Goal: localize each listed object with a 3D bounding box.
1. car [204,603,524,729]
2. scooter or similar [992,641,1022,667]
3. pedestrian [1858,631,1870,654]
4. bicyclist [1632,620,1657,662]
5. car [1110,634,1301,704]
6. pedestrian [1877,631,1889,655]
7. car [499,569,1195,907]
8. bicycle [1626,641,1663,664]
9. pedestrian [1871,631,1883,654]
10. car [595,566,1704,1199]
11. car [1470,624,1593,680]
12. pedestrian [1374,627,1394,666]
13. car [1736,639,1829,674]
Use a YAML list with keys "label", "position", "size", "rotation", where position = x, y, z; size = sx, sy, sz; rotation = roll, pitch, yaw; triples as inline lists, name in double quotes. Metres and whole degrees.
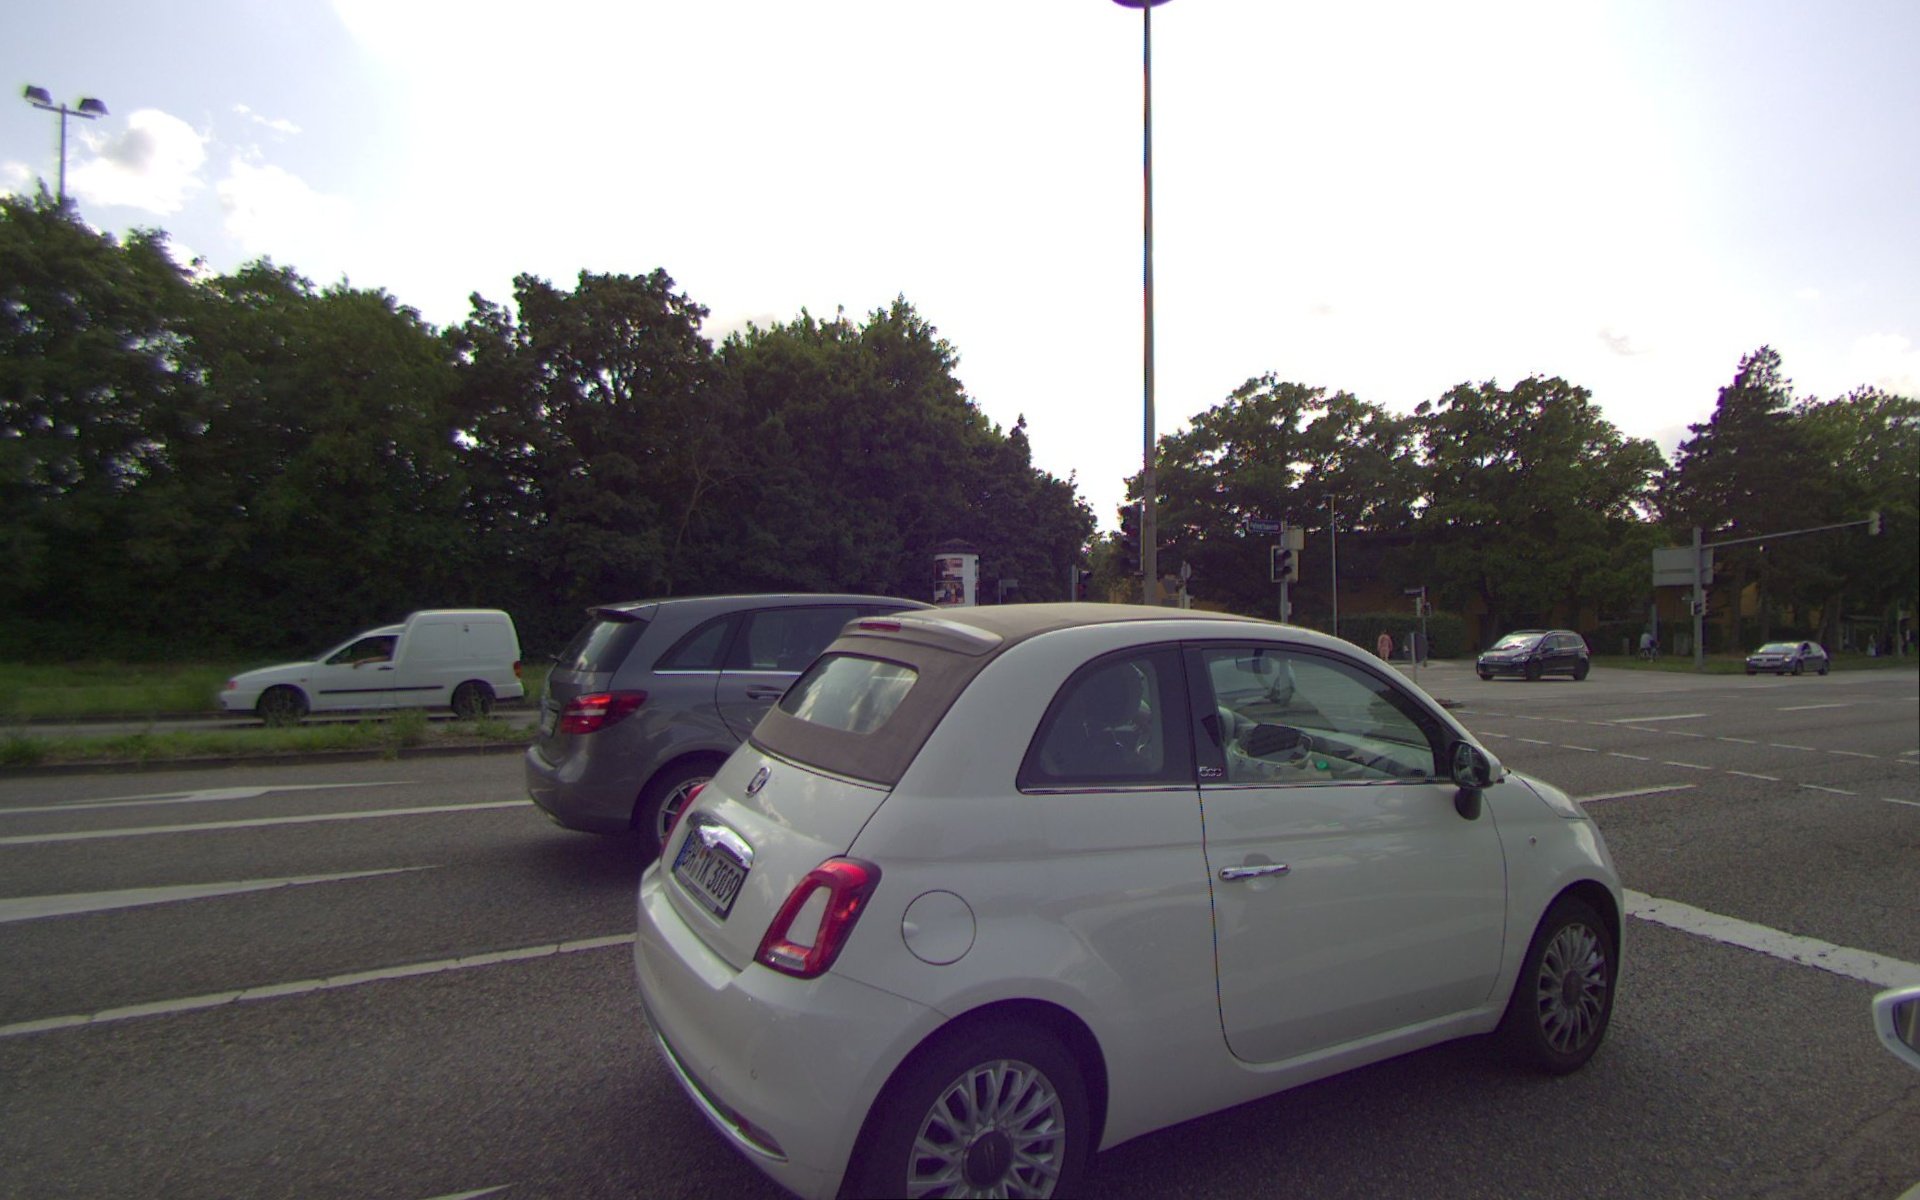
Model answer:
- label: "car"
  position: [-9.448, 1.030, 16.246]
  size: [4.205, 1.817, 1.663]
  rotation: [2, -2, -30]
- label: "scooter or similar"
  position: [1.732, 1.989, 36.948]
  size: [1.022, 0.954, 0.295]
  rotation: [2, 0, -24]
- label: "pedestrian"
  position: [60.189, 2.816, 66.890]
  size: [0.418, 1.515, 0.564]
  rotation: [2, 0, -45]
- label: "bicyclist"
  position: [33.863, 2.038, 49.706]
  size: [0.822, 2.040, 0.747]
  rotation: [1, -2, -32]
- label: "car"
  position: [5.062, 1.412, 20.683]
  size: [3.650, 1.325, 1.745]
  rotation: [2, -4, -30]
- label: "pedestrian"
  position: [60.612, 2.824, 65.966]
  size: [0.418, 1.515, 0.564]
  rotation: [2, 0, -45]
- label: "car"
  position: [-0.627, 0.746, 6.717]
  size: [4.309, 1.640, 1.690]
  rotation: [2, -1, -30]
- label: "bicycle"
  position: [33.896, 2.579, 49.710]
  size: [2.091, 1.133, 0.751]
  rotation: [1, -2, -32]
- label: "pedestrian"
  position: [60.883, 2.839, 66.701]
  size: [0.418, 1.515, 0.564]
  rotation: [2, 0, -45]
- label: "car"
  position: [0.755, 0.747, 3.392]
  size: [3.499, 1.517, 1.562]
  rotation: [2, 0, -30]
- label: "car"
  position: [19.005, 1.720, 33.351]
  size: [4.260, 1.764, 1.663]
  rotation: [2, -2, -30]
- label: "pedestrian"
  position: [19.105, 2.093, 45.310]
  size: [0.678, 1.765, 0.705]
  rotation: [0, -2, 10]
- label: "car"
  position: [34.094, 2.312, 41.620]
  size: [4.030, 1.390, 1.588]
  rotation: [1, -2, -28]
